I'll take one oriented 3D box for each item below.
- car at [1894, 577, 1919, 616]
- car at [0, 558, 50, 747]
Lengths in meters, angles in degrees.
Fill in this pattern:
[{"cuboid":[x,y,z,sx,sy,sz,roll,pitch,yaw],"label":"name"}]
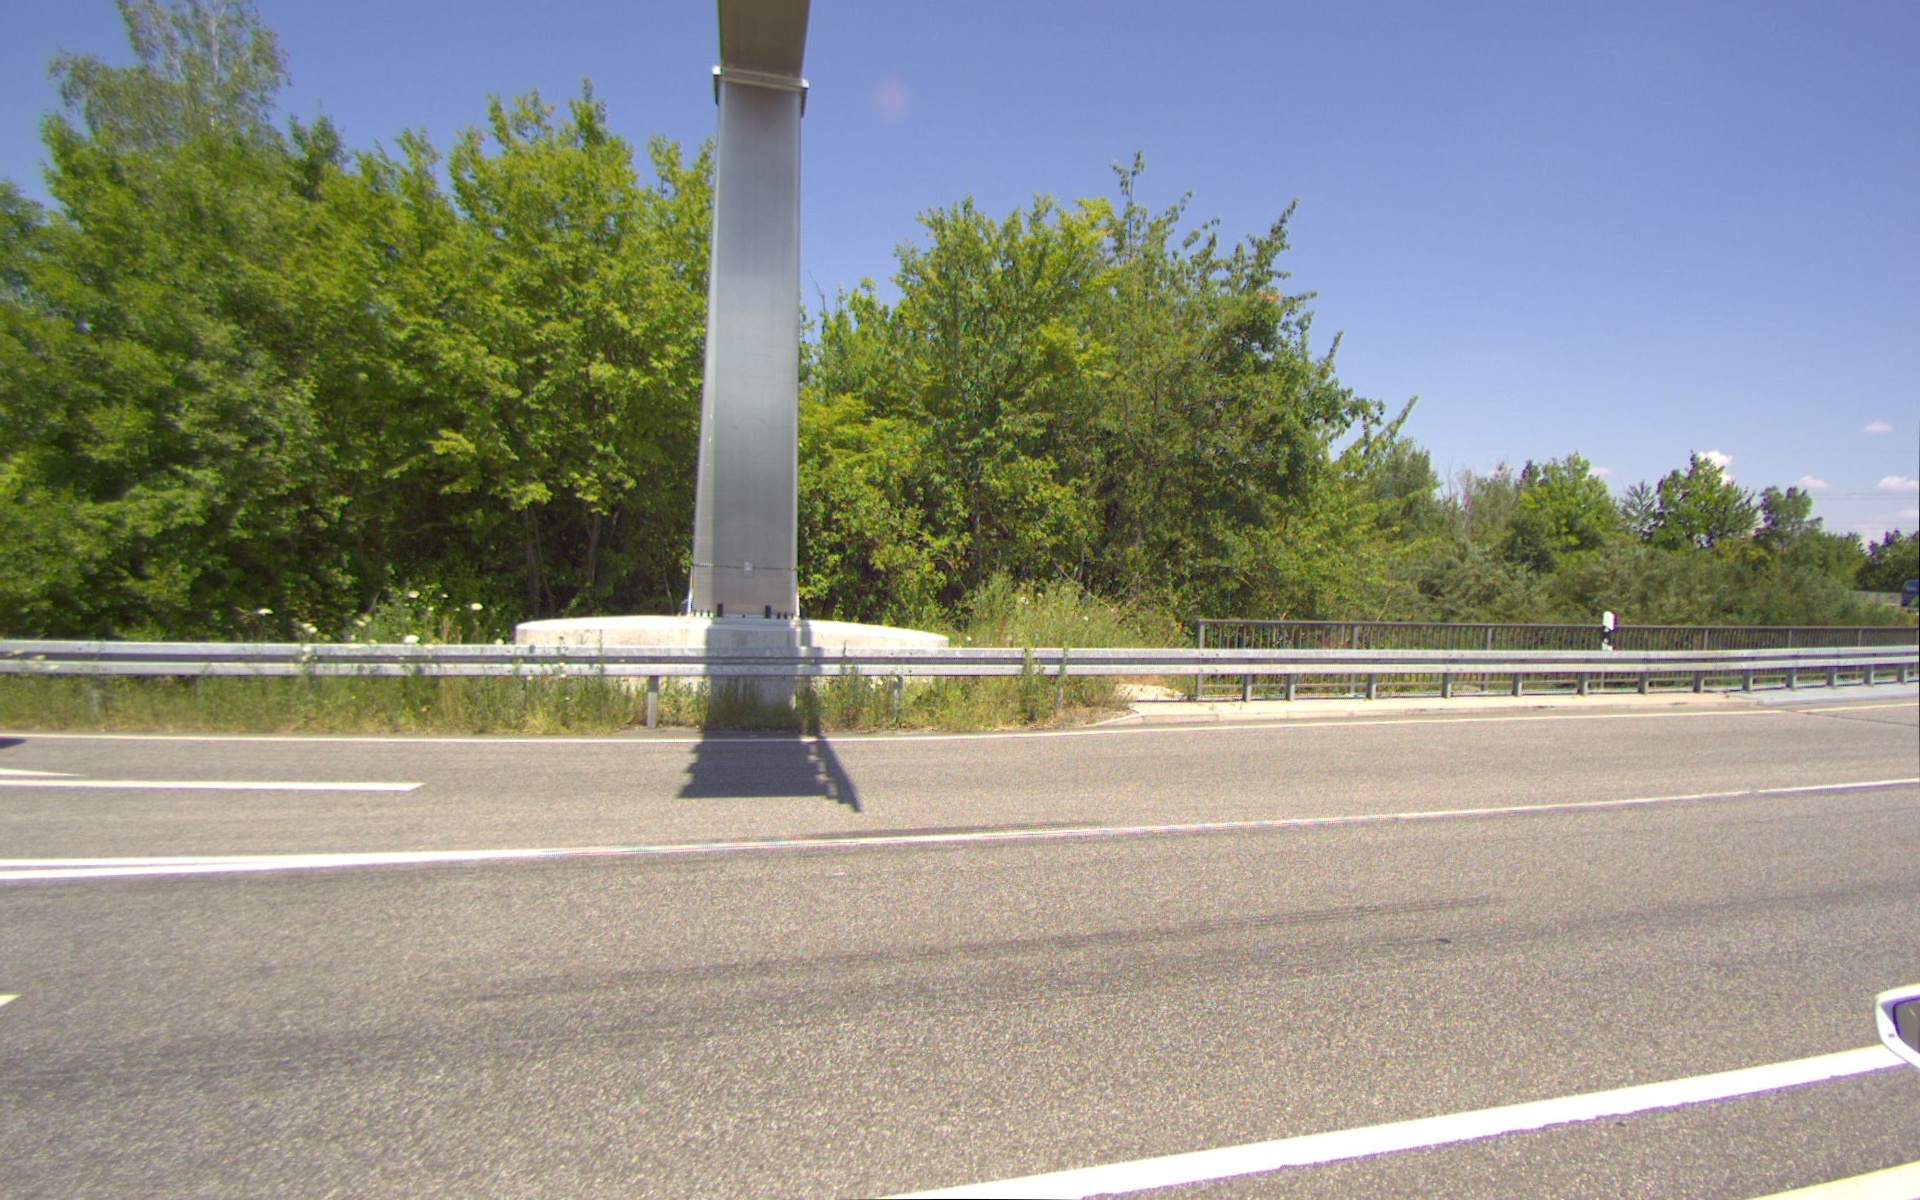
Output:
[{"cuboid":[68.205,-0.244,70.644,1.964,2.516,5.474,-6,0,26],"label":"car"},{"cuboid":[-9.945,0.350,7.308,4.745,1.504,1.842,2,0,-5],"label":"car"}]
